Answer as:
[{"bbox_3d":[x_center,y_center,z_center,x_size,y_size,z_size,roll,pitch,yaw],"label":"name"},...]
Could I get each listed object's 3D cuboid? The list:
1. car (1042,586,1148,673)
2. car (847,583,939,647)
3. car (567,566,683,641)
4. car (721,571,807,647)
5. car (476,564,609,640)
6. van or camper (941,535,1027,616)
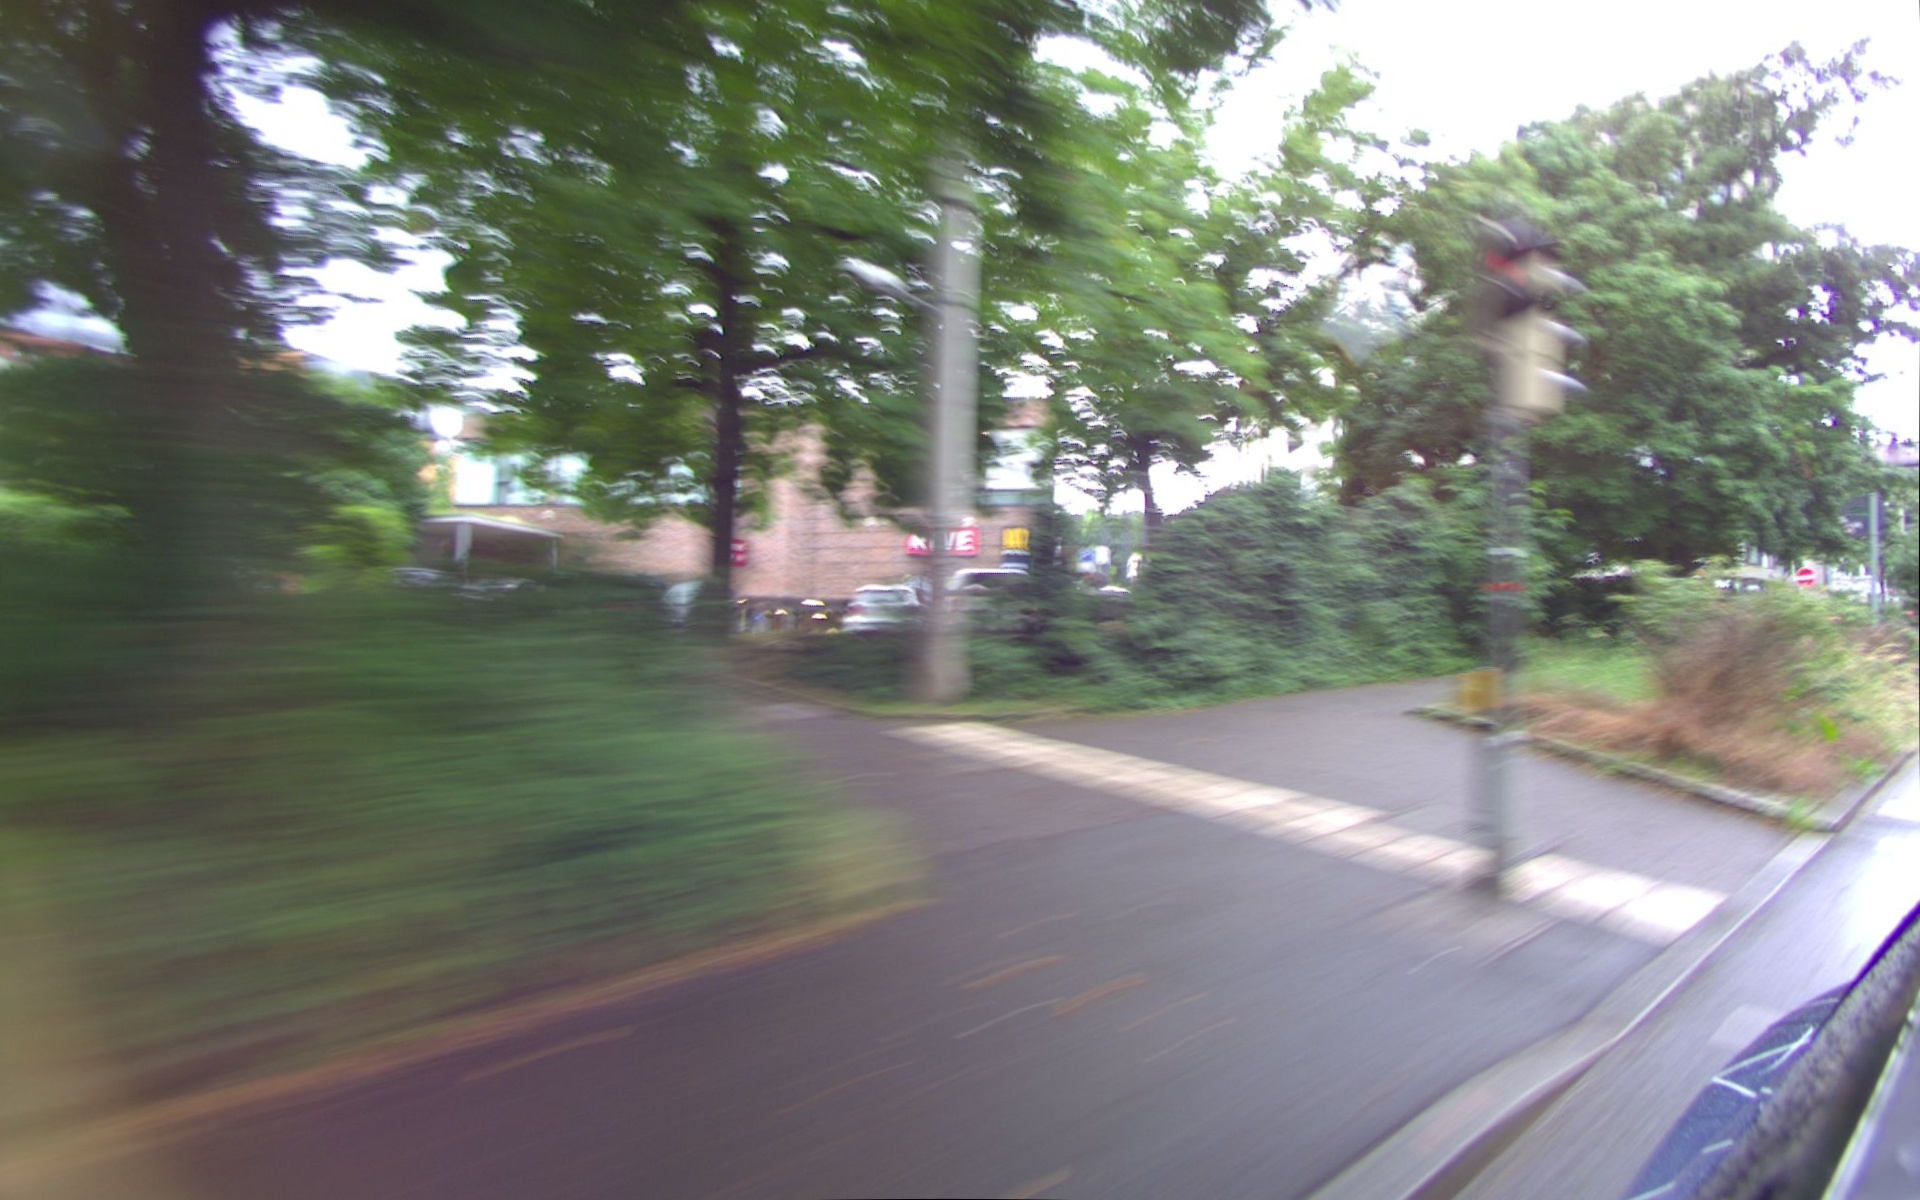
[{"bbox_3d":[3.371,0.706,26.165,1.961,2.039,4.510,0,-1,-2],"label":"car"},{"bbox_3d":[-1.607,0.328,25.697,1.963,1.483,3.999,1,1,1],"label":"car"},{"bbox_3d":[-8.492,0.029,25.995,1.960,1.750,4.125,1,1,-6],"label":"car"},{"bbox_3d":[-4.970,0.169,25.875,1.959,1.750,4.008,1,1,-10],"label":"car"},{"bbox_3d":[-10.475,-0.005,25.721,1.960,1.750,4.124,1,1,-5],"label":"car"},{"bbox_3d":[0.687,-0.641,26.233,1.964,1.856,5.178,1,2,3],"label":"van or camper"}]
